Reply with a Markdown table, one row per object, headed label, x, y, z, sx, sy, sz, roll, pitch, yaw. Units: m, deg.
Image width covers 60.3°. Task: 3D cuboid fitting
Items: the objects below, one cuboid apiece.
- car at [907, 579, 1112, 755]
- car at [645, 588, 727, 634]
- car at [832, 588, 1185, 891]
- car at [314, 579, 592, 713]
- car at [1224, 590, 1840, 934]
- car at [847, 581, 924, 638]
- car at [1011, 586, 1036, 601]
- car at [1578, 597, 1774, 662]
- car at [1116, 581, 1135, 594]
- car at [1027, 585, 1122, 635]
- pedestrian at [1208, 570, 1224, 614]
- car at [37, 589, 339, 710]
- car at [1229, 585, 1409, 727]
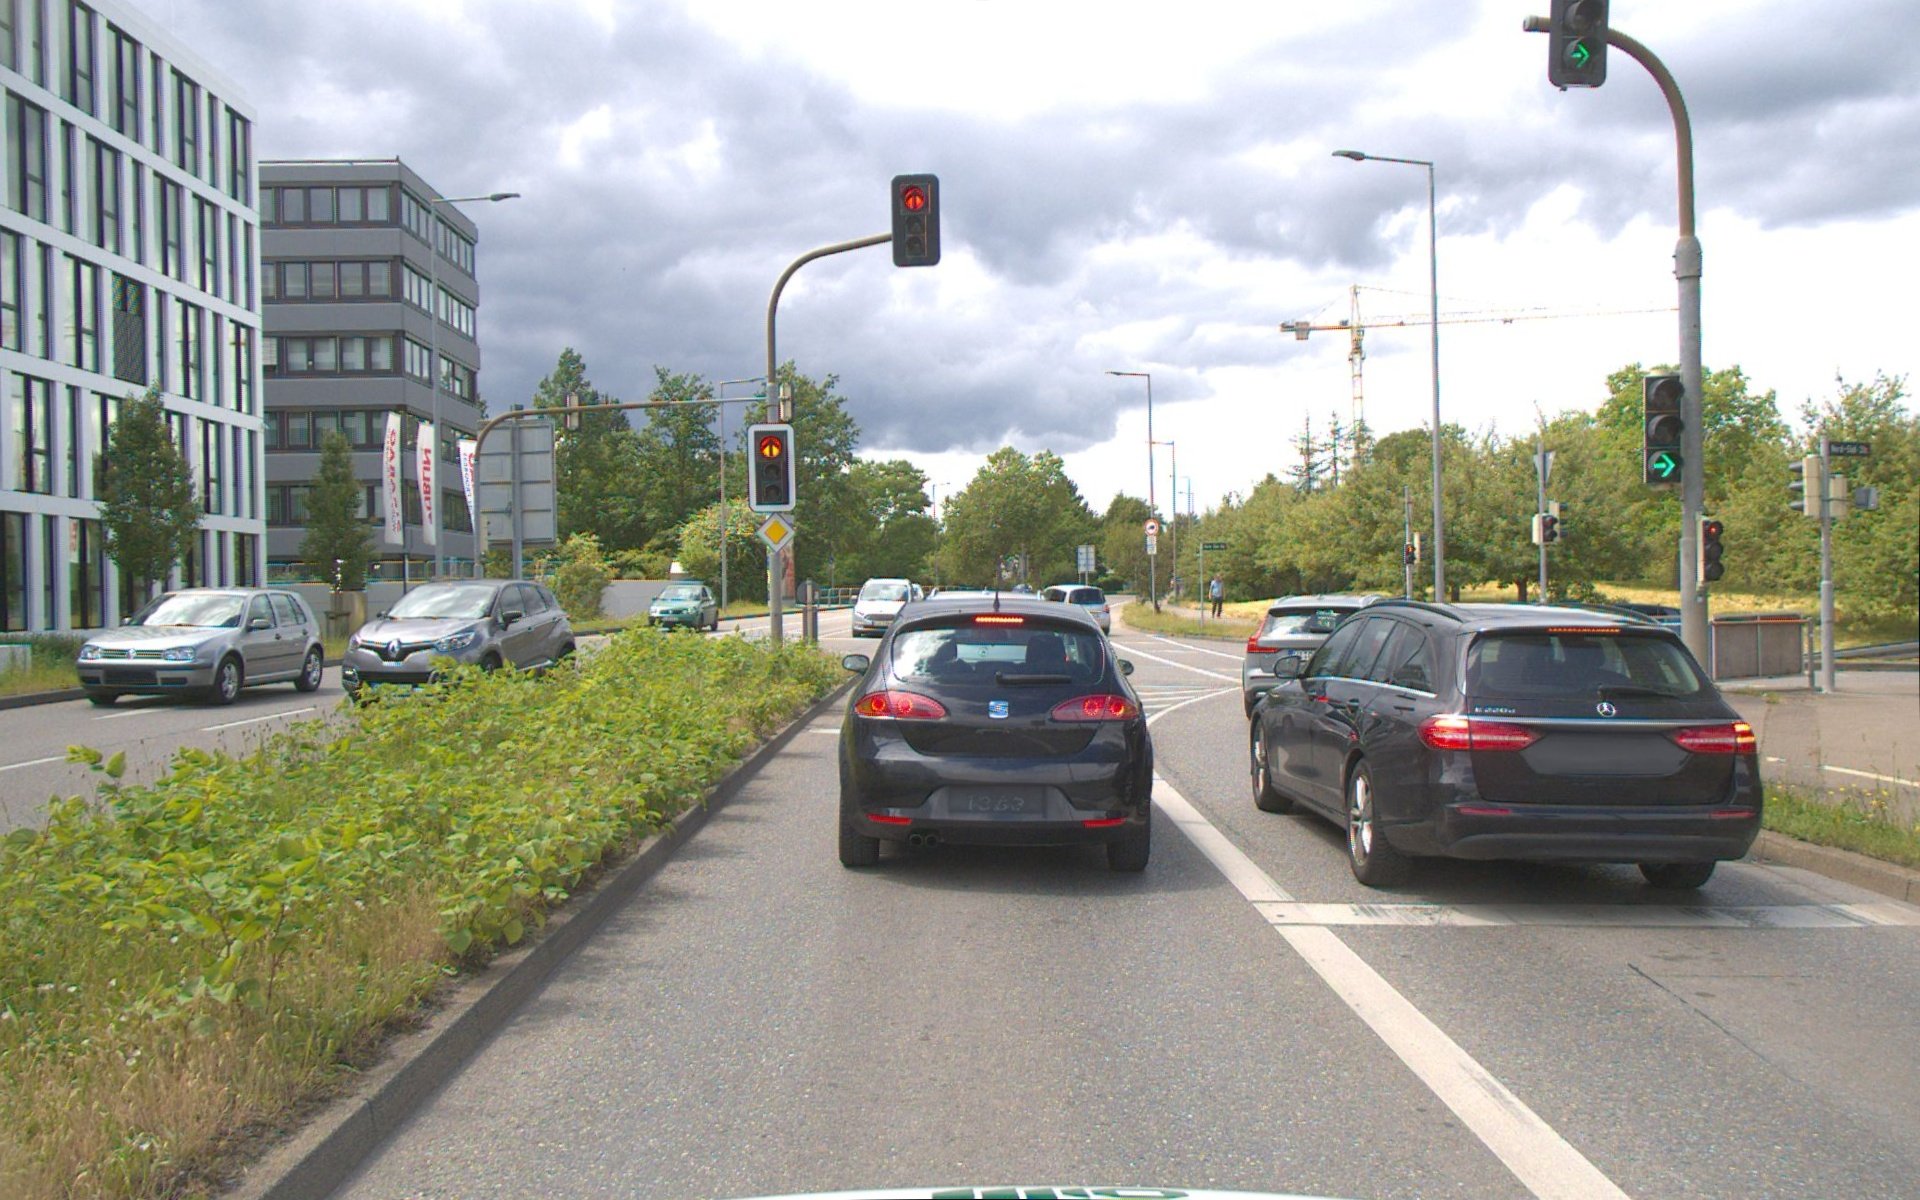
| label | x | y | z | sx | sy | sz | roll | pitch | yaw |
| --- | --- | --- | --- | --- | --- | --- | --- | --- | --- |
| car | 0.387 | 0.578 | 16.506 | 1.738 | 1.517 | 3.580 | -1 | 1 | -3 |
| car | -8.594 | 0.309 | 52.128 | 1.953 | 1.375 | 4.000 | 0 | 1 | -1 |
| car | 0.224 | 0.682 | 9.980 | 1.737 | 1.477 | 3.582 | 0 | 1 | -1 |
| car | -6.364 | 0.516 | 21.275 | 1.894 | 1.543 | 4.003 | 0 | 1 | 8 |
| car | 2.974 | 0.706 | 9.988 | 1.834 | 1.466 | 5.199 | -1 | 1 | -1 |
| car | -2.178 | 0.239 | 49.553 | 1.952 | 1.624 | 4.002 | 0 | 1 | 2 |
| car | 5.964 | -0.637 | 154.487 | 1.951 | 1.375 | 4.003 | 0 | 1 | 7 |
| car | 18.173 | 0.740 | 42.172 | 4.212 | 1.552 | 2.002 | -1 | 0 | 10 |
| car | 18.567 | -1.423 | 185.309 | 1.951 | 1.375 | 4.003 | 0 | 1 | 7 |
| car | 3.674 | 0.294 | 53.572 | 1.960 | 1.557 | 3.986 | 0 | 1 | -14 |
| pedestrian | 10.317 | -0.325 | 66.619 | 0.547 | 1.756 | 0.588 | 0 | 0 | 0 |
| car | -9.835 | 0.572 | 21.462 | 1.952 | 1.378 | 4.001 | 0 | 1 | 1 |
| car | 4.398 | 0.618 | 20.836 | 1.823 | 1.545 | 4.450 | -1 | 1 | 7 |
